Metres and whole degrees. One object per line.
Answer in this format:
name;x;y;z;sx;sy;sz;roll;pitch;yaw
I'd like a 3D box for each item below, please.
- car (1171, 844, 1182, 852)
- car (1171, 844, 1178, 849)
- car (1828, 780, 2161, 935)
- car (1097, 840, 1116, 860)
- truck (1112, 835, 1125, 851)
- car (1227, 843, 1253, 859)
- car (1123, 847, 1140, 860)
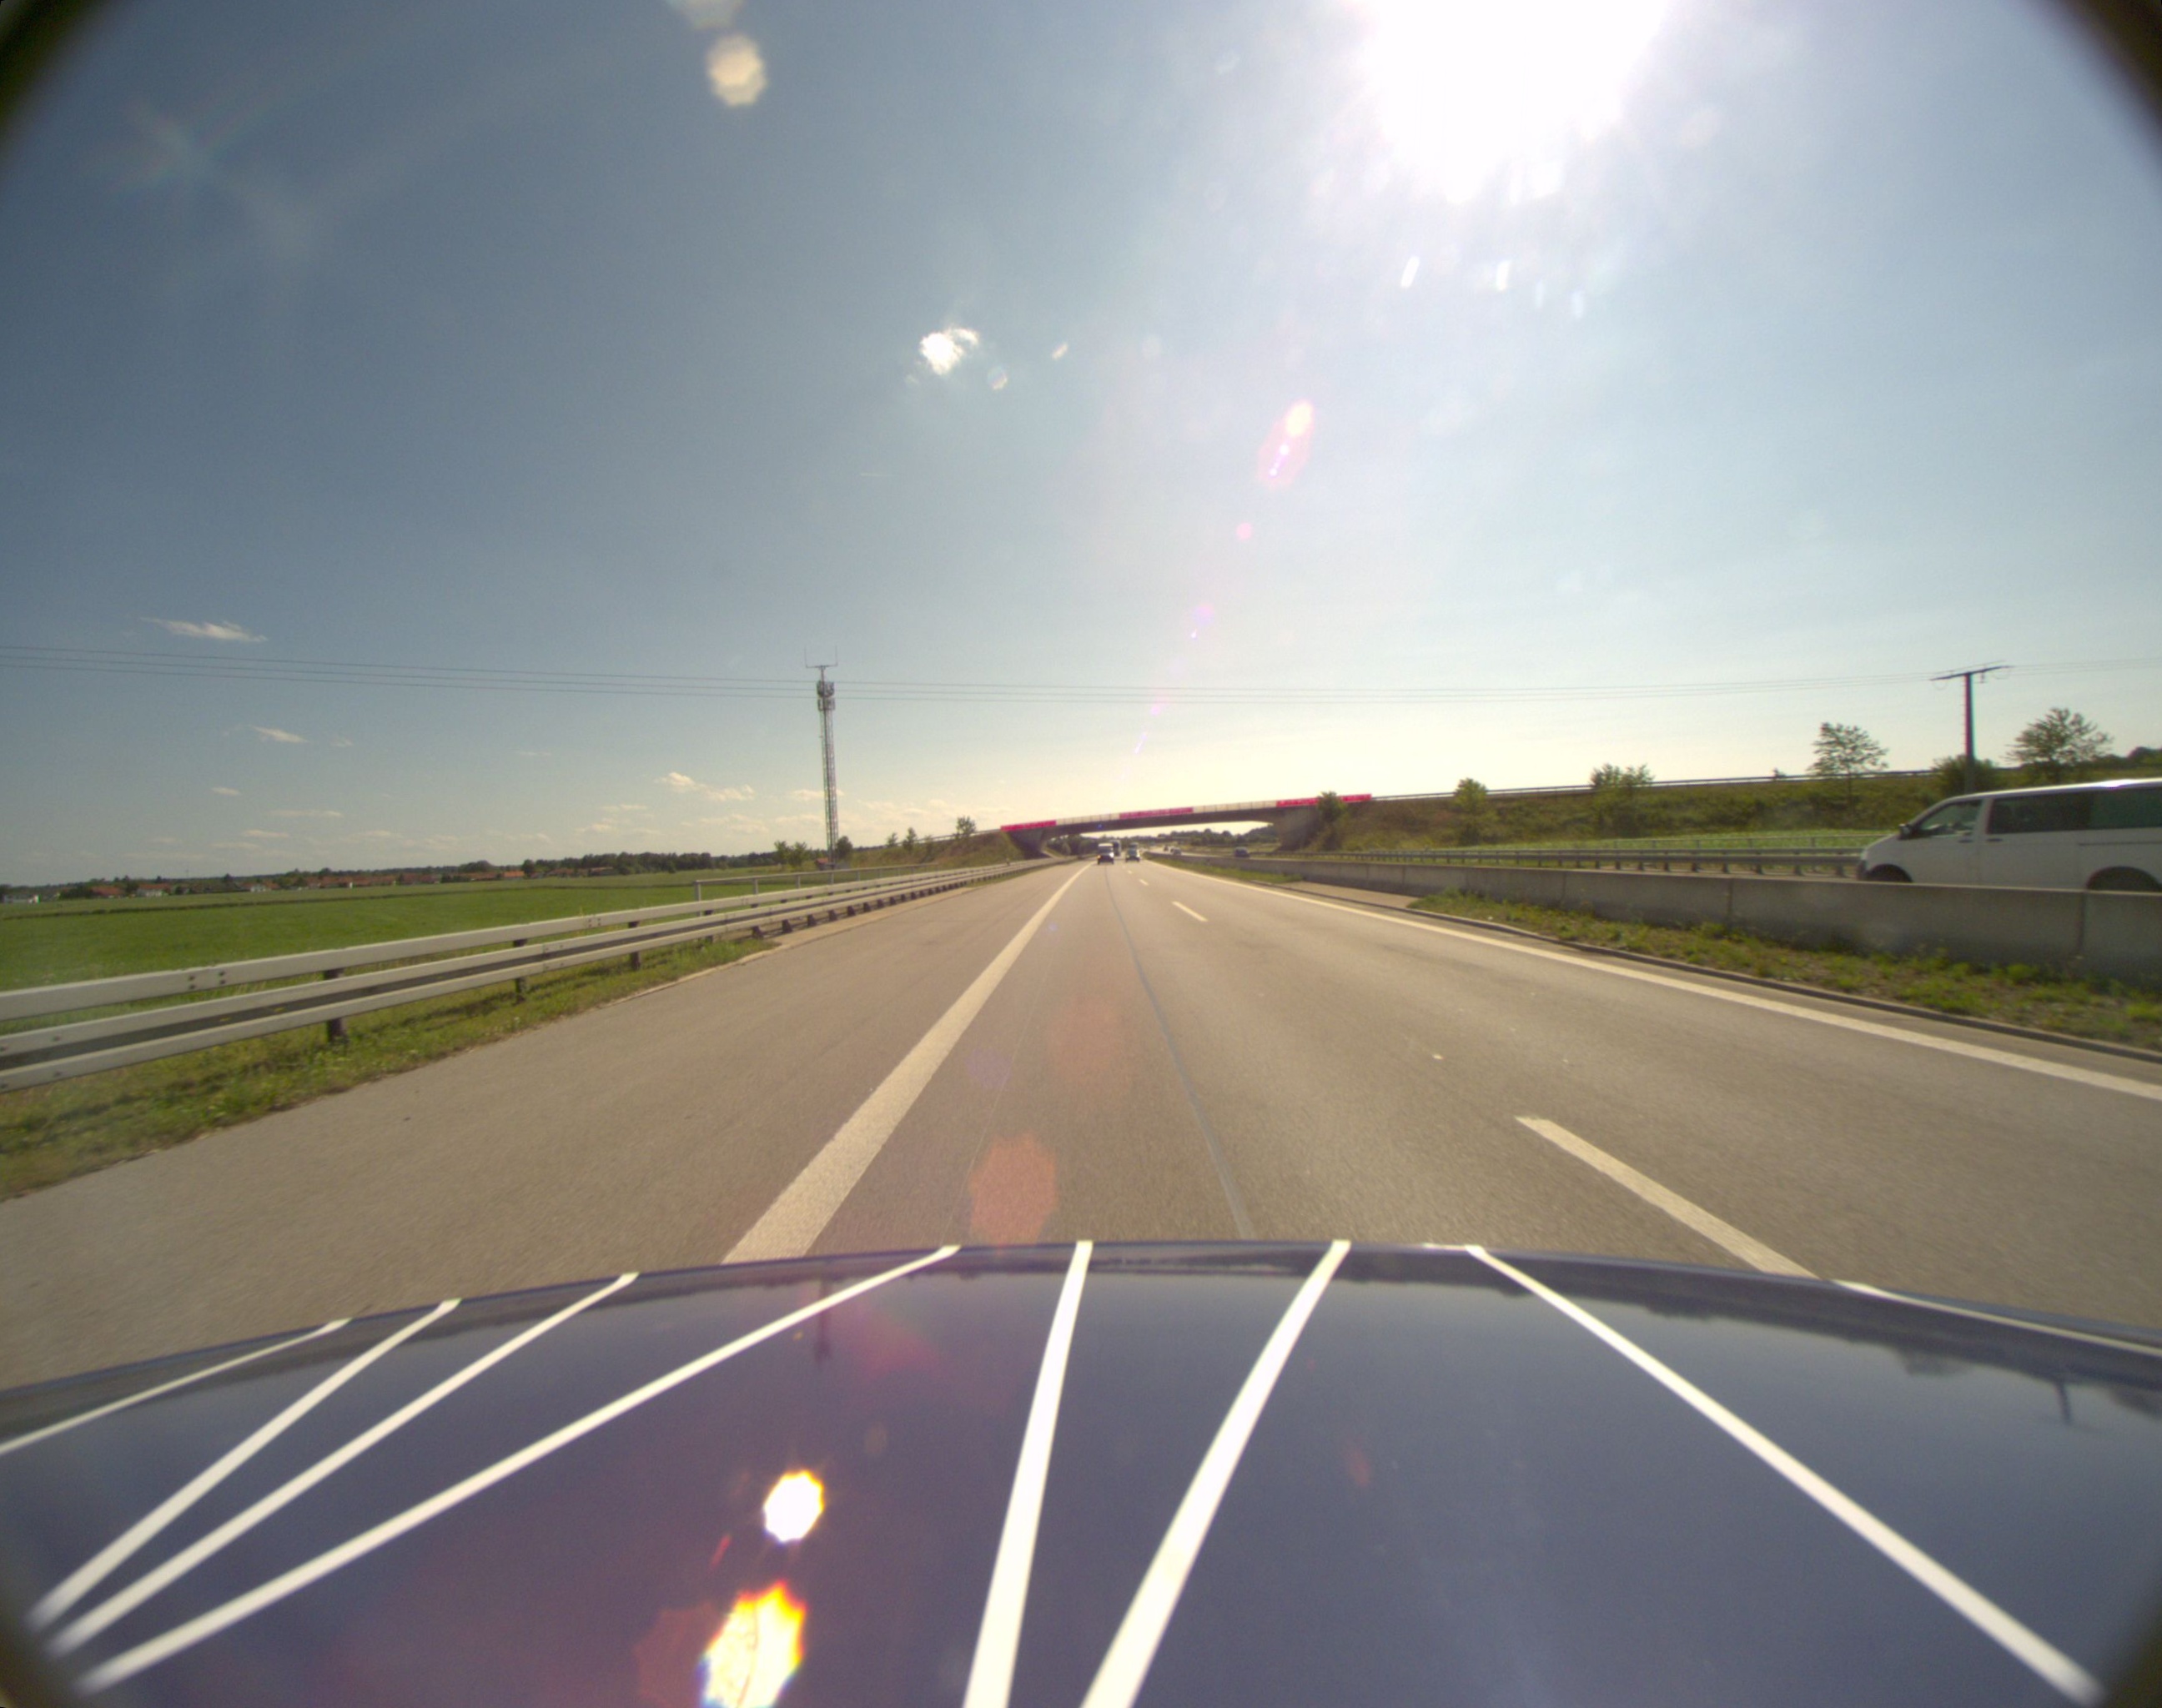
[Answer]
car;21.775;-1.355;173.870;1.998;1.570;4.896;-3;1;3
car;28.106;-2.271;228.522;1.859;1.452;4.195;-2;1;3
car;14.966;-0.018;11.421;1.998;2.002;5.613;-2;1;1
car;3.032;-0.452;88.629;2.030;2.225;4.818;-2;1;3
truck;9.094;-2.648;185.530;2.762;3.793;7.517;-3;1;2
car;17.362;-0.340;83.102;1.864;1.505;4.585;-4;0;2
car;6.562;-0.038;99.912;2.030;1.600;4.818;-2;1;2
